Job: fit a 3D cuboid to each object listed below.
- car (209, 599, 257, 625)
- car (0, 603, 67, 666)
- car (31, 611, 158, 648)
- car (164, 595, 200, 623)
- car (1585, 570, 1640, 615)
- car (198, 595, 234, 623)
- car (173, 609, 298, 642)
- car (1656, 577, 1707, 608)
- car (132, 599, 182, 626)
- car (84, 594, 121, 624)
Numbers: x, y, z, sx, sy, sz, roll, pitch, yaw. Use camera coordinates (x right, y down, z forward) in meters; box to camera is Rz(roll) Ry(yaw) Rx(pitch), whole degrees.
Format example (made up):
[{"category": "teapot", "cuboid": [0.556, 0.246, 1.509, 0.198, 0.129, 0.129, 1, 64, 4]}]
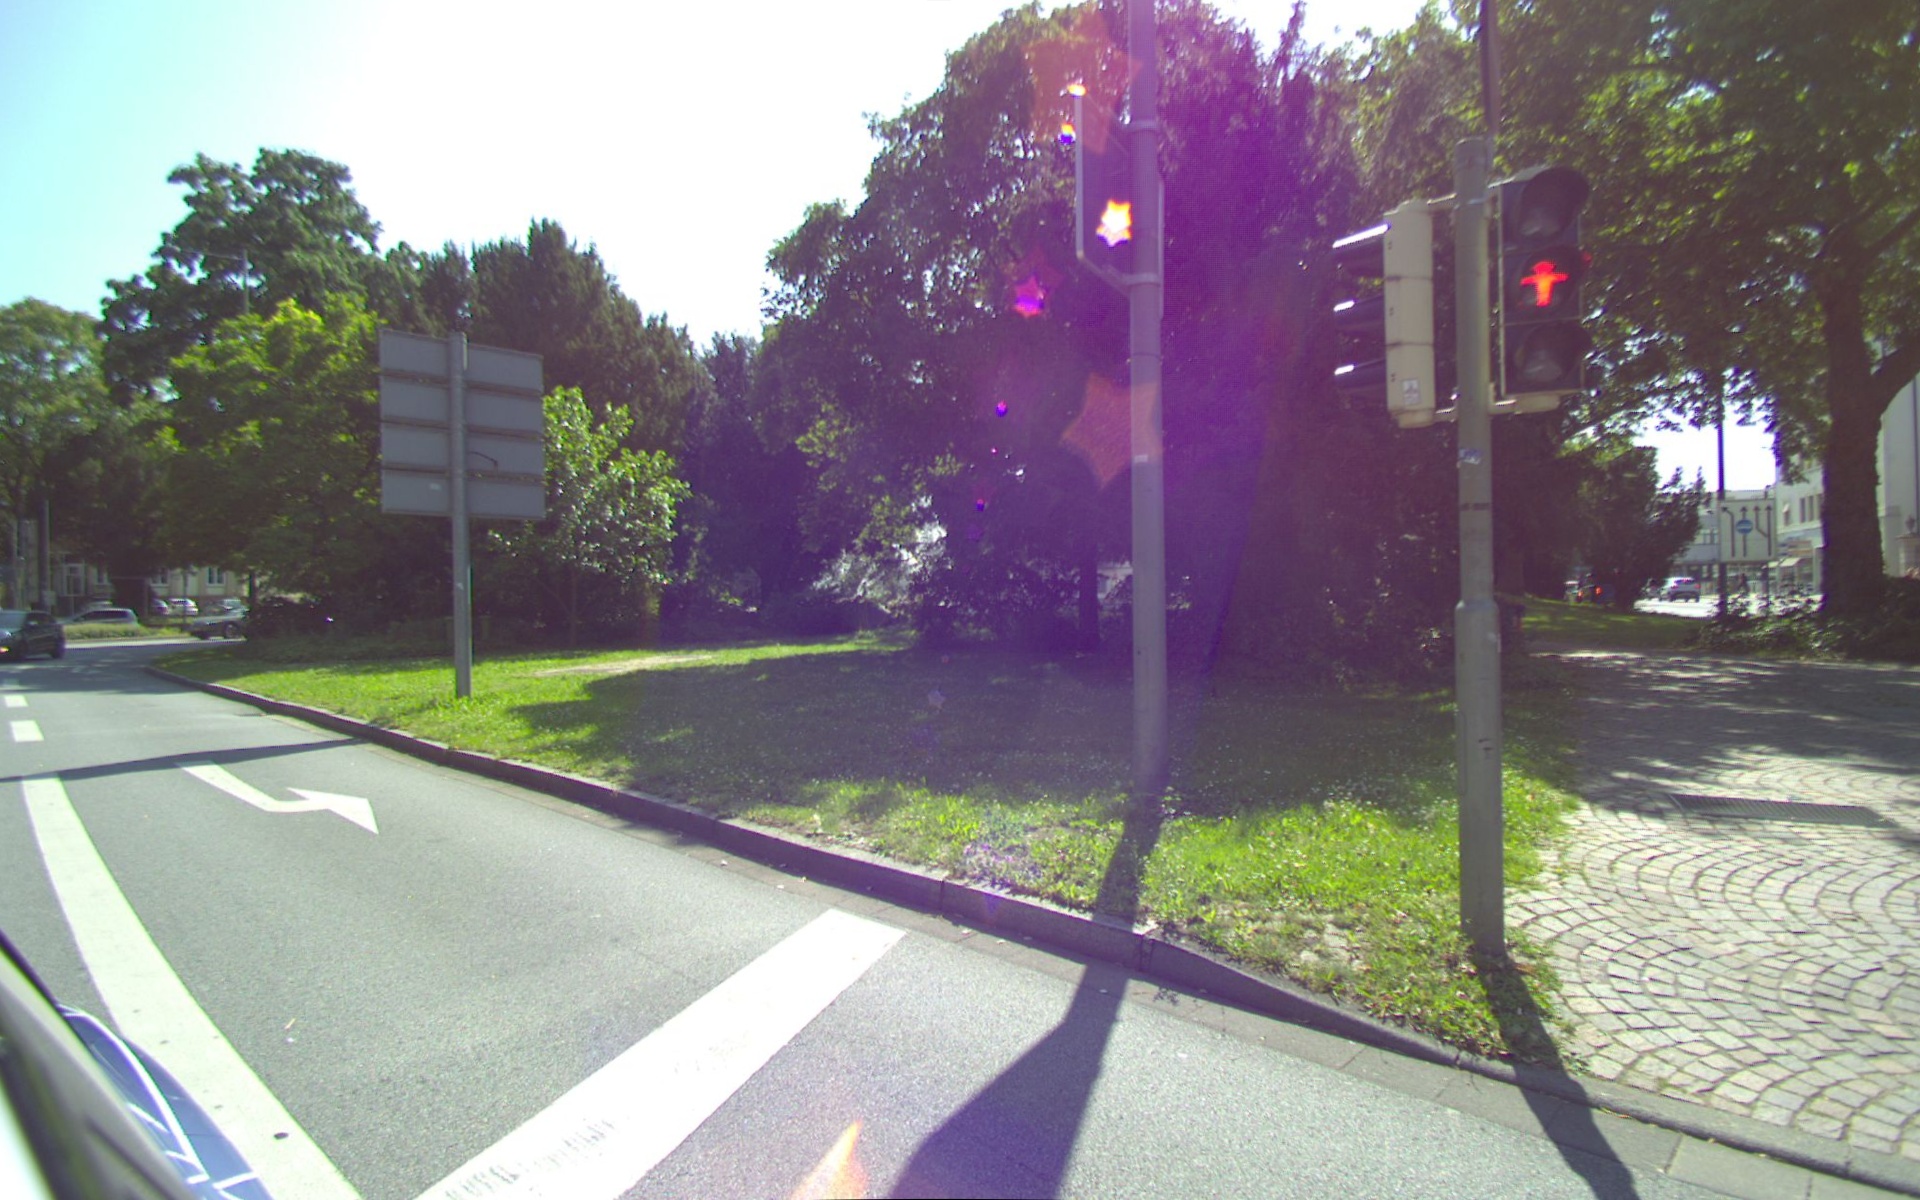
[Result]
[{"category": "car", "cuboid": [-49.517, 0.832, 68.900, 3.998, 1.674, 1.827, -1, 0, 41]}, {"category": "car", "cuboid": [-27.649, 0.934, 29.121, 1.858, 1.696, 4.155, 1, -1, -26]}, {"category": "car", "cuboid": [-41.185, 1.374, 48.244, 1.683, 1.566, 4.362, -1, 0, 38]}, {"category": "car", "cuboid": [-58.698, 0.676, 76.332, 1.824, 2.029, 4.004, -1, 0, -43]}, {"category": "car", "cuboid": [34.536, -0.401, 53.669, 1.925, 2.184, 4.022, -2, 0, 26]}, {"category": "car", "cuboid": [-57.210, 0.690, 77.815, 1.824, 2.029, 4.004, -1, 0, -43]}, {"category": "car", "cuboid": [-33.540, 1.148, 47.020, 1.926, 1.440, 4.524, -1, -1, 17]}, {"category": "car", "cuboid": [44.879, -0.474, 63.043, 1.841, 1.748, 4.022, -2, 0, 26]}, {"category": "car", "cuboid": [-52.512, 0.808, 66.162, 3.998, 1.674, 1.827, -1, 0, 41]}, {"category": "car", "cuboid": [-60.890, 0.645, 71.875, 1.824, 2.029, 4.004, -1, 0, -43]}]
